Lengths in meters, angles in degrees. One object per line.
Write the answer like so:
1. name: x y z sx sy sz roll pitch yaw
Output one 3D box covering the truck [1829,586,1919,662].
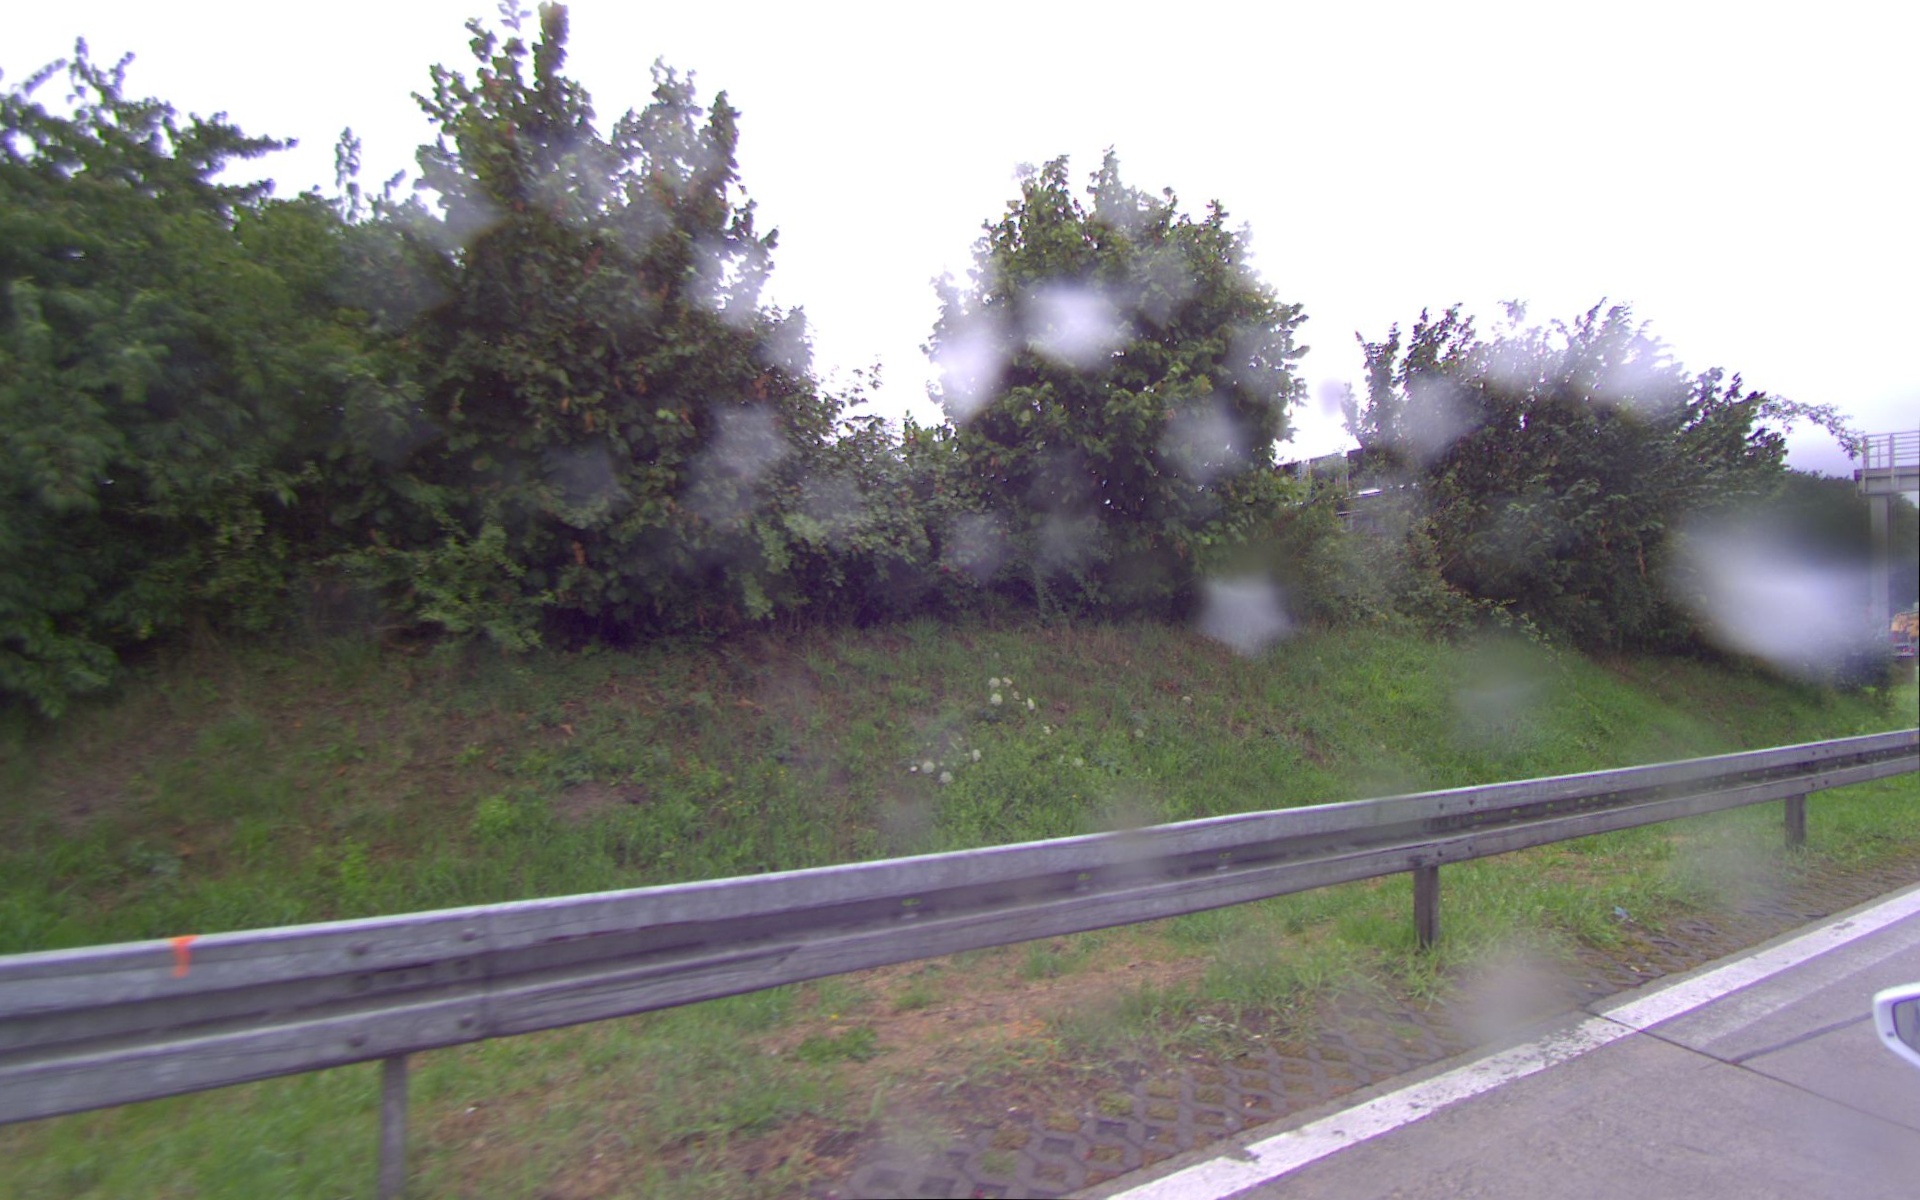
1. truck: 49.692 1.212 52.298 11.653 3.635 2.820 0 -3 -29
